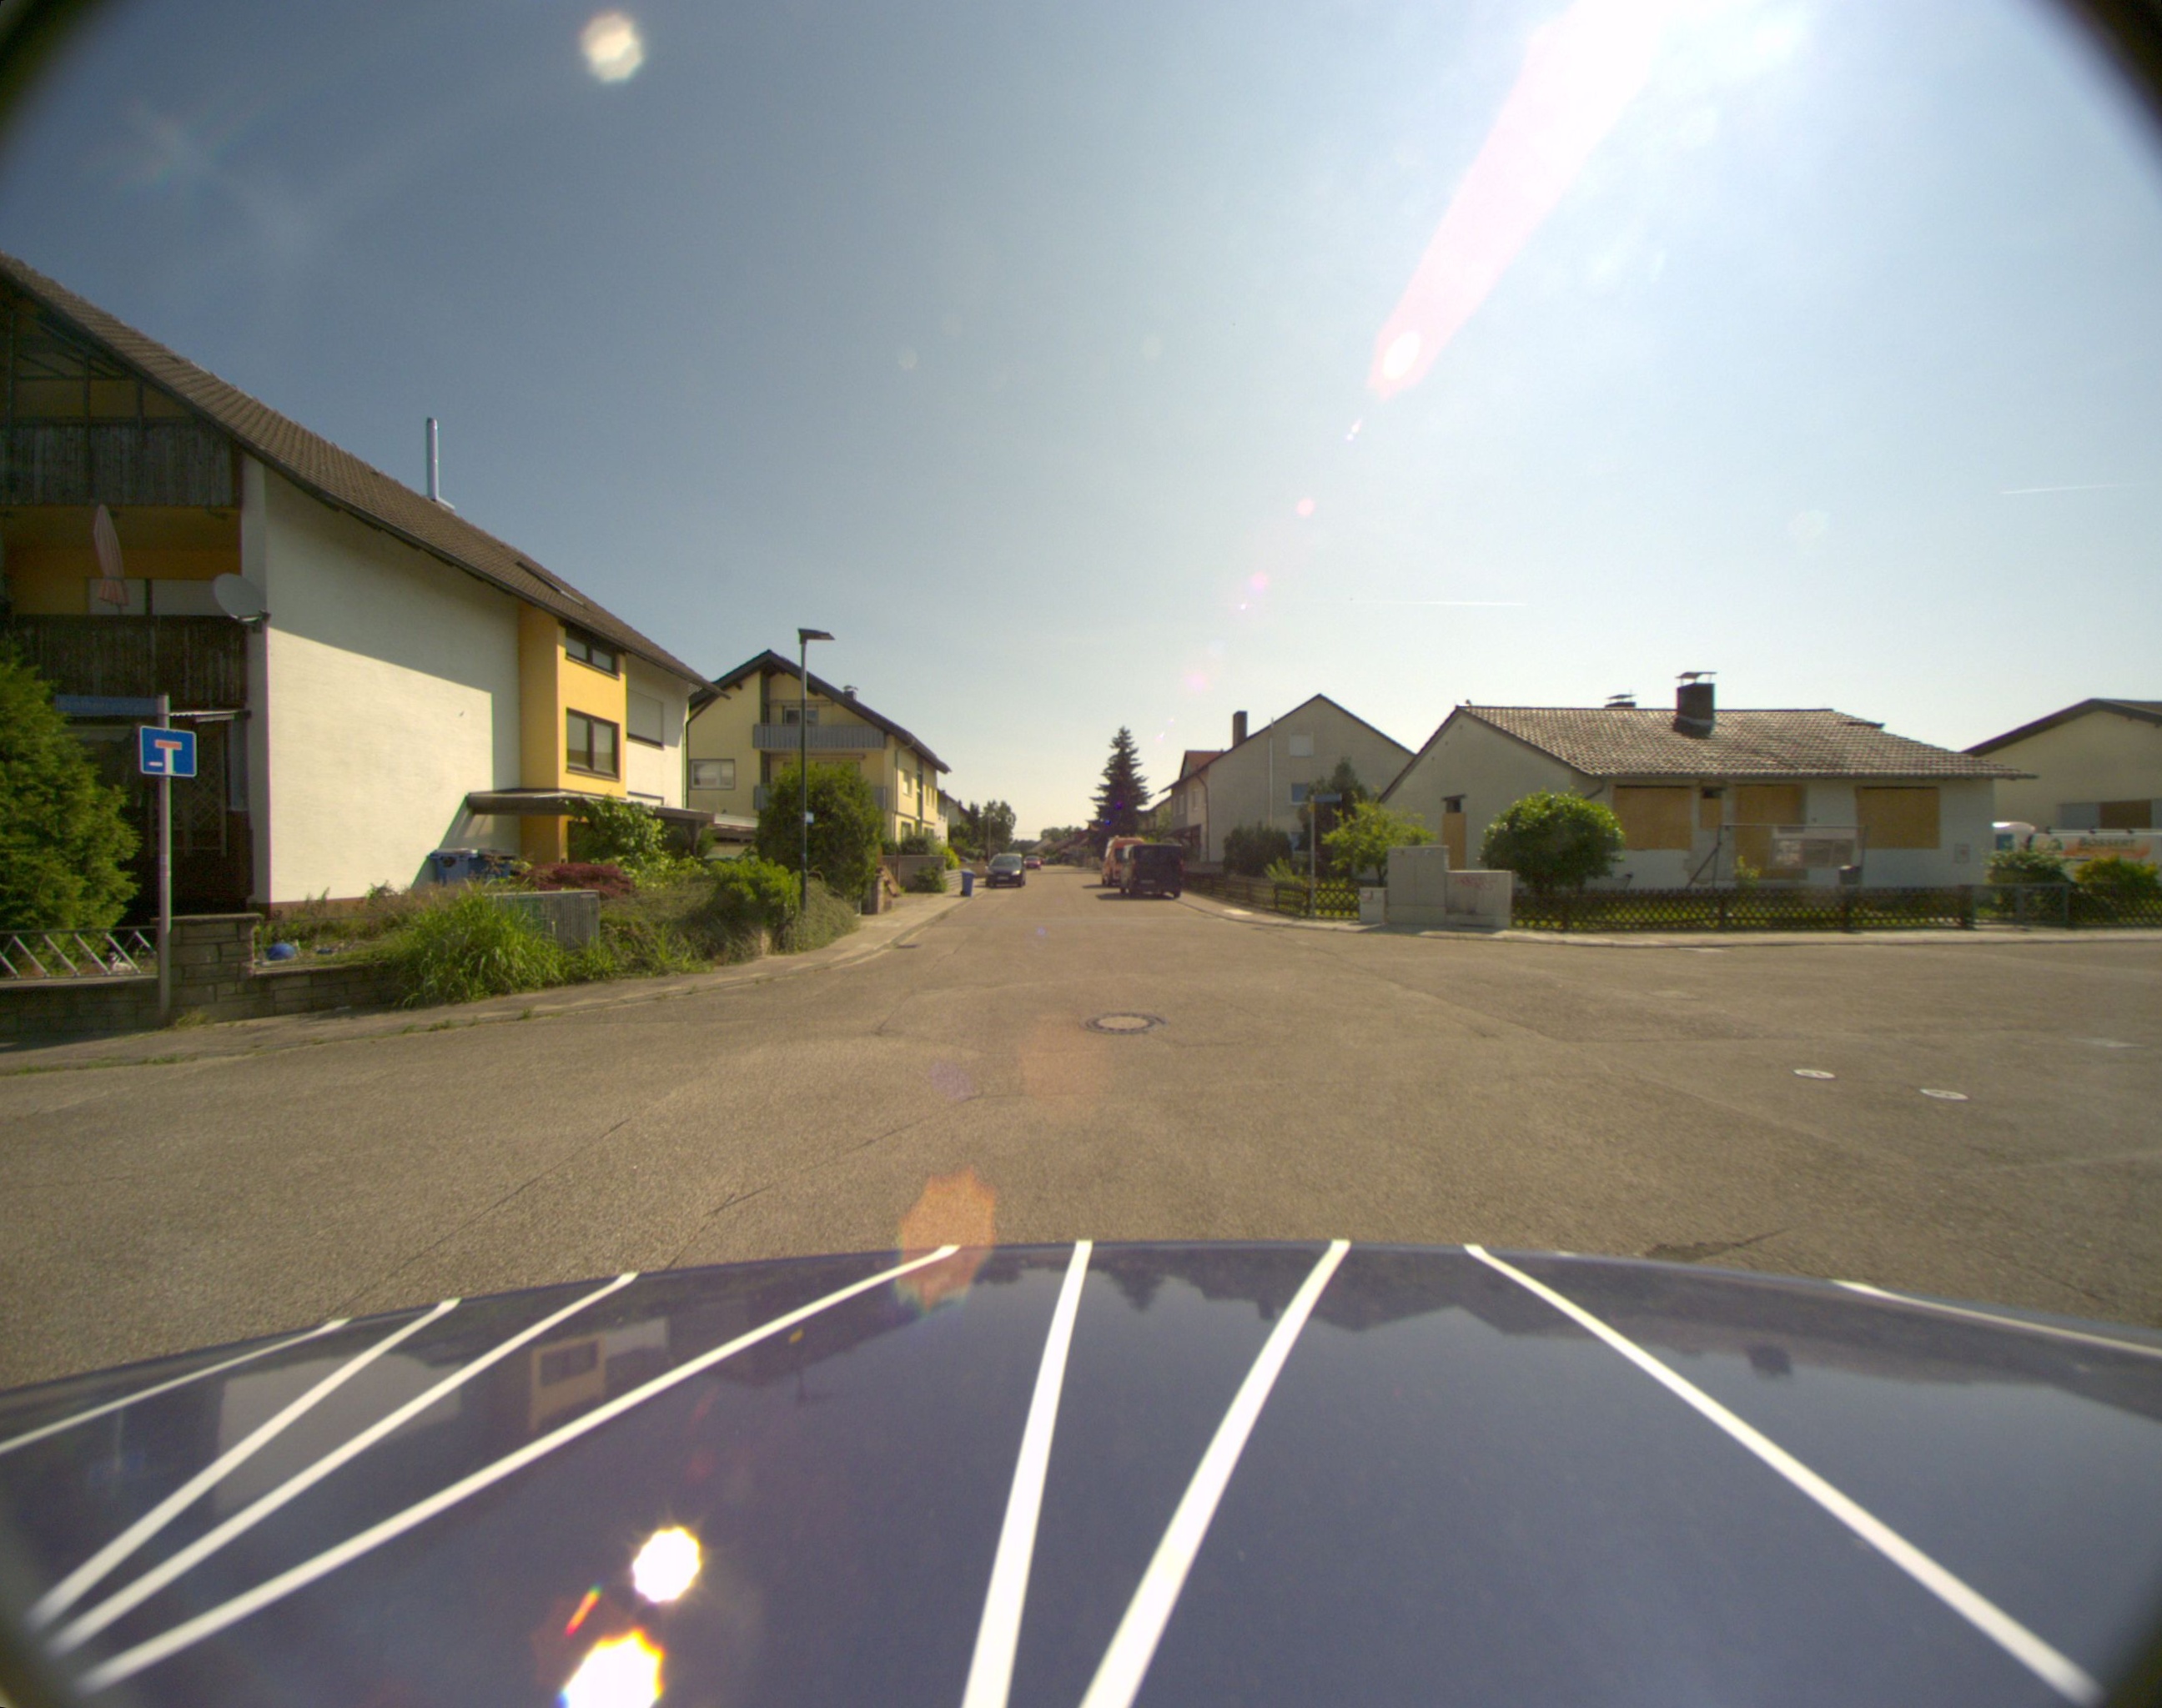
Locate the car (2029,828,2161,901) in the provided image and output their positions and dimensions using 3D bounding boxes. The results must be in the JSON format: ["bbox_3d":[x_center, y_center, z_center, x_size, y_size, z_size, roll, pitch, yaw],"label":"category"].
[{"bbox_3d":[30.352,0.274,21.020,1.867,2.002,5.010,0,1,-3],"label":"car"}]

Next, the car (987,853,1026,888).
[{"bbox_3d":[-3.674,0.781,38.013,1.632,1.616,4.000,-1,0,-1],"label":"car"}]

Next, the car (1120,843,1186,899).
[{"bbox_3d":[2.624,0.600,28.652,1.870,1.927,4.203,-1,0,-3],"label":"car"}]

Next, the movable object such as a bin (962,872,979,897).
[{"bbox_3d":[-4.138,1.126,28.440,0.584,0.911,0.598,-1,1,-4],"label":"movable object such as a bin"}]

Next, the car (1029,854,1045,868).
[{"bbox_3d":[-4.696,0.774,80.244,1.518,1.398,3.676,-1,0,-5],"label":"car"}]

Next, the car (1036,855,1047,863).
[{"bbox_3d":[-7.494,0.934,144.157,1.710,1.332,3.997,-1,-1,-11],"label":"car"}]

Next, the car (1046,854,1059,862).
[{"bbox_3d":[-4.989,0.761,131.505,1.710,1.332,3.997,-1,-1,-11],"label":"car"}]

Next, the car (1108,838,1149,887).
[{"bbox_3d":[2.330,0.384,37.953,1.555,2.310,4.203,-1,0,-3],"label":"car"}]

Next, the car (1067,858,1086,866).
[{"bbox_3d":[-0.833,1.452,141.184,3.415,1.521,1.637,-1,1,-9],"label":"car"}]
